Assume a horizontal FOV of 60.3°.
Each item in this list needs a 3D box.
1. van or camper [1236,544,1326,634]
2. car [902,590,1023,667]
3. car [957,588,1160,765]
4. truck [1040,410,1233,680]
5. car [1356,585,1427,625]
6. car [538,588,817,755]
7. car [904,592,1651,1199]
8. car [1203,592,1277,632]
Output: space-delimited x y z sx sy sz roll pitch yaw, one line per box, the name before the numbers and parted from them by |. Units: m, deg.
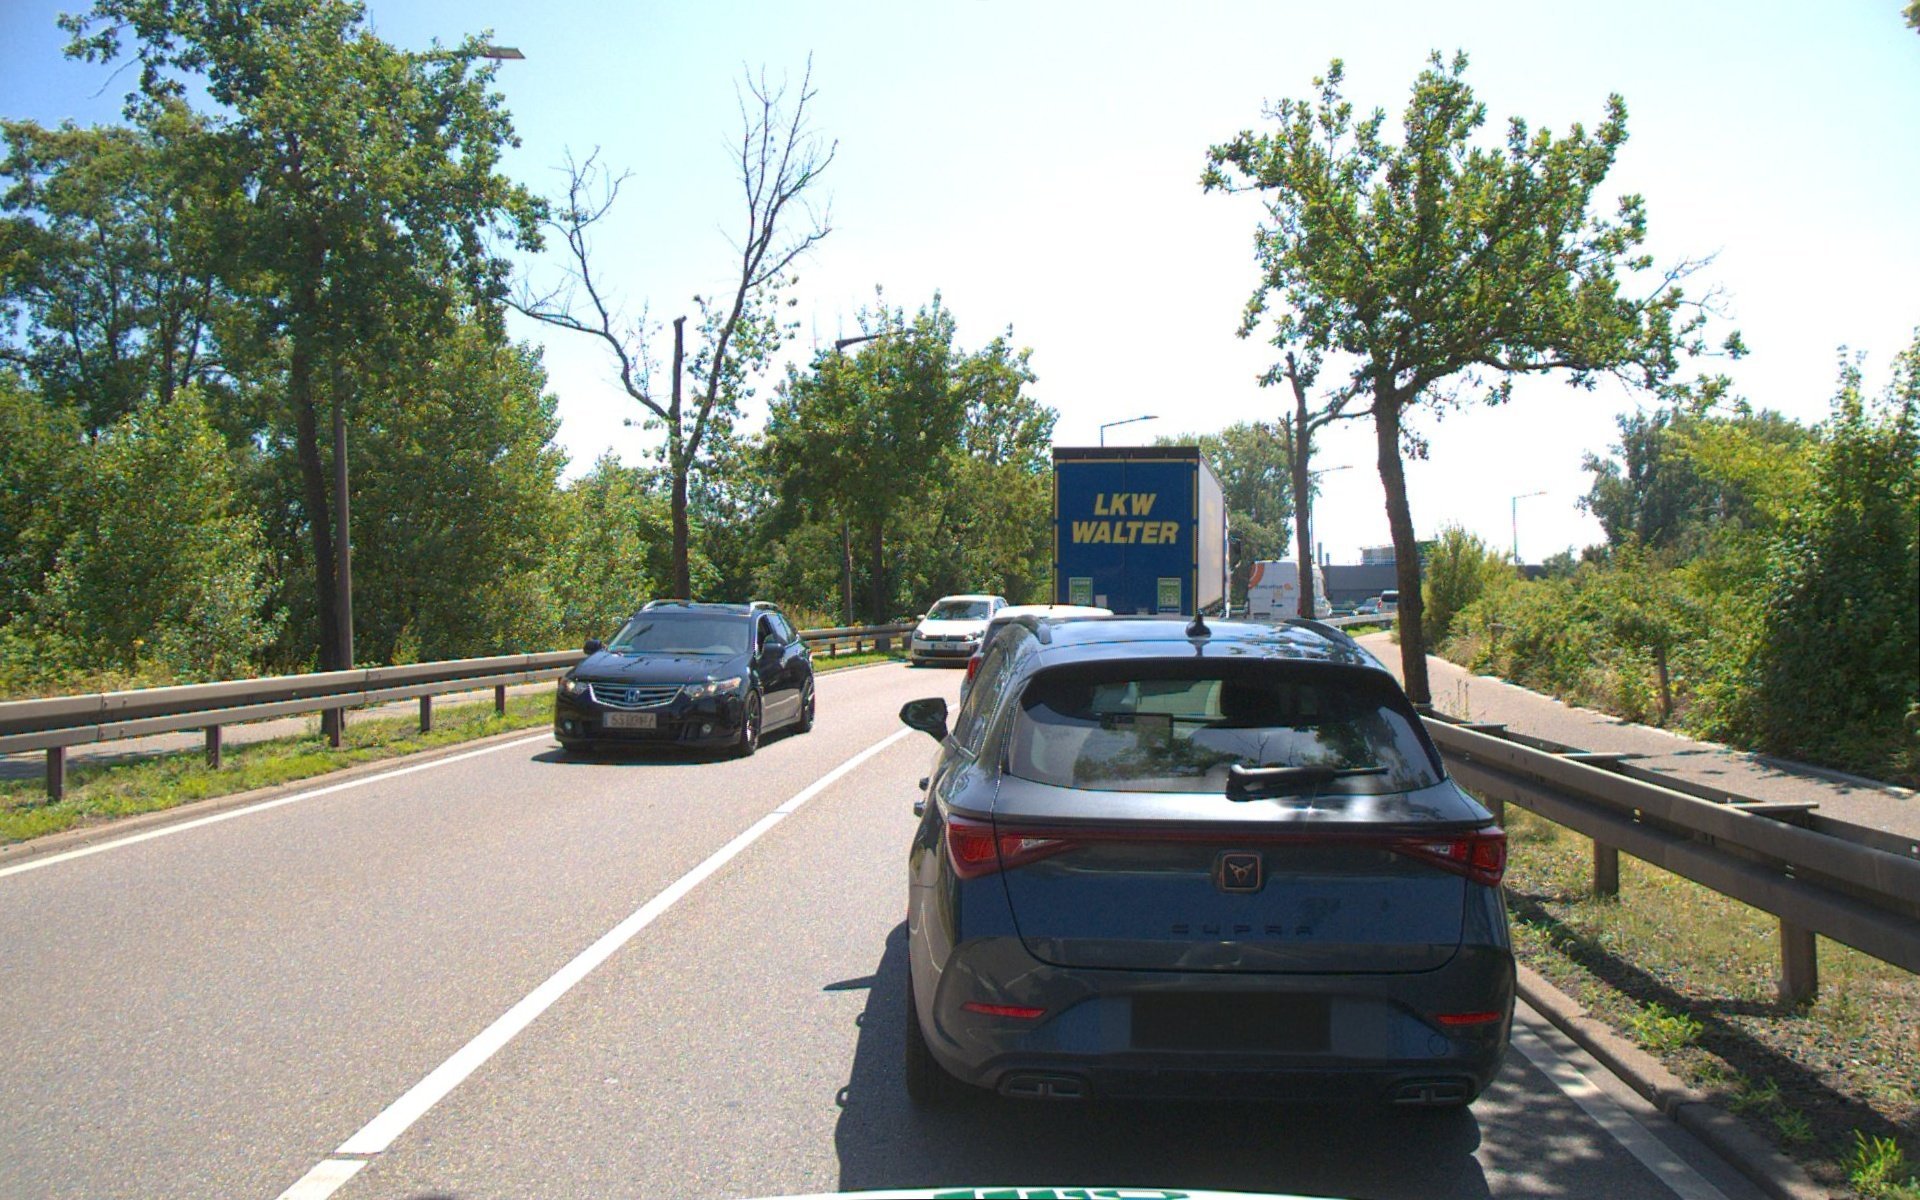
van or camper | 11.568 -0.350 59.203 2.414 3.051 6.089 0 0 18
car | 0.114 0.585 35.696 1.835 1.524 4.003 1 0 12
car | 0.905 0.672 16.625 1.772 1.534 4.000 1 0 1
truck | 4.339 -0.929 36.275 2.887 4.526 16.812 1 0 10
car | 19.936 0.232 76.327 1.957 1.742 4.610 1 0 31
car | -2.686 0.613 16.744 1.821 1.445 4.259 1 0 4
car | 0.700 0.721 5.737 1.709 1.457 3.879 1 0 -1
car | 12.660 0.545 74.466 2.087 1.710 4.876 1 0 25
